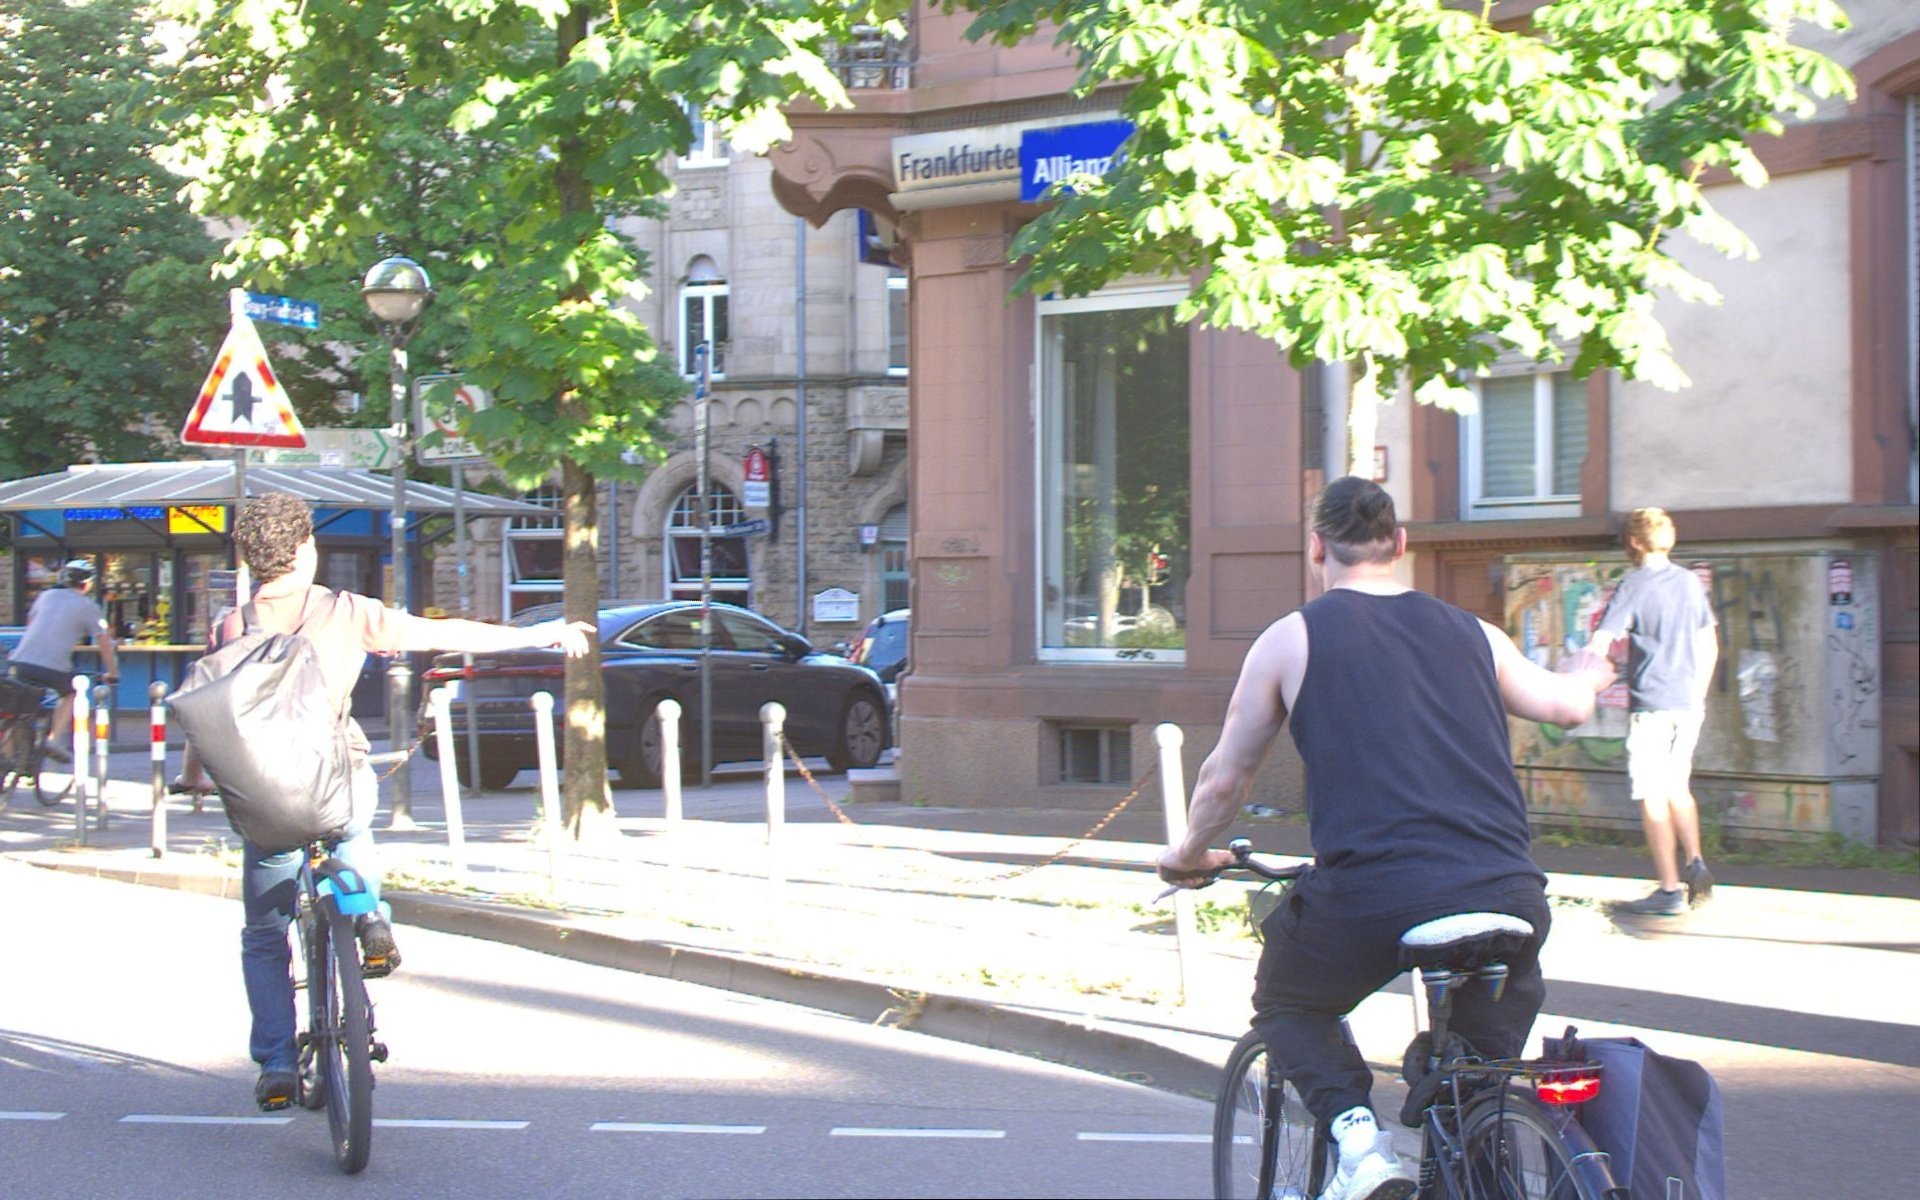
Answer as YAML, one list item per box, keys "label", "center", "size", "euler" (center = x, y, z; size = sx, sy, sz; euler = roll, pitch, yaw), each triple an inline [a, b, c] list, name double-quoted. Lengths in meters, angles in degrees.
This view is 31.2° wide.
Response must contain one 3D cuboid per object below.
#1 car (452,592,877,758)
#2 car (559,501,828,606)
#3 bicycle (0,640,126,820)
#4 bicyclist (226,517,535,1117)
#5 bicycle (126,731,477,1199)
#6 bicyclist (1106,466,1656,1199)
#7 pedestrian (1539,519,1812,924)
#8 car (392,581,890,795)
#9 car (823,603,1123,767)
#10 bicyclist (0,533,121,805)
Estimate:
- label: "car"
  center: [-2.878, 0.708, 33.889]
  size: [3.848, 1.537, 1.795]
  euler: [0, -1, -41]
- label: "car"
  center: [-4.331, -0.726, 55.731]
  size: [3.993, 1.642, 1.875]
  euler: [0, 0, 30]
- label: "bicycle"
  center: [-6.678, 0.909, 24.732]
  size: [0.810, 1.181, 2.227]
  euler: [-1, 1, 0]
- label: "bicyclist"
  center: [-1.626, 0.566, 9.554]
  size: [0.706, 1.568, 0.957]
  euler: [0, 0, -18]
- label: "bicycle"
  center: [-1.871, 0.953, 9.545]
  size: [0.717, 1.103, 1.967]
  euler: [0, 0, -18]
- label: "bicyclist"
  center: [0.736, 0.615, 6.253]
  size: [0.686, 1.650, 0.989]
  euler: [-1, -2, -12]
- label: "pedestrian"
  center: [3.000, 0.479, 14.452]
  size: [0.723, 1.629, 0.905]
  euler: [-1, 2, -25]
- label: "car"
  center: [-2.506, 0.663, 28.097]
  size: [1.794, 1.605, 4.361]
  euler: [-1, 0, 31]
- label: "car"
  center: [0.172, 0.761, 32.447]
  size: [1.503, 1.453, 3.202]
  euler: [0, 0, 28]
- label: "bicyclist"
  center: [-6.545, 0.488, 24.692]
  size: [0.794, 1.907, 0.945]
  euler: [1, 0, -1]
